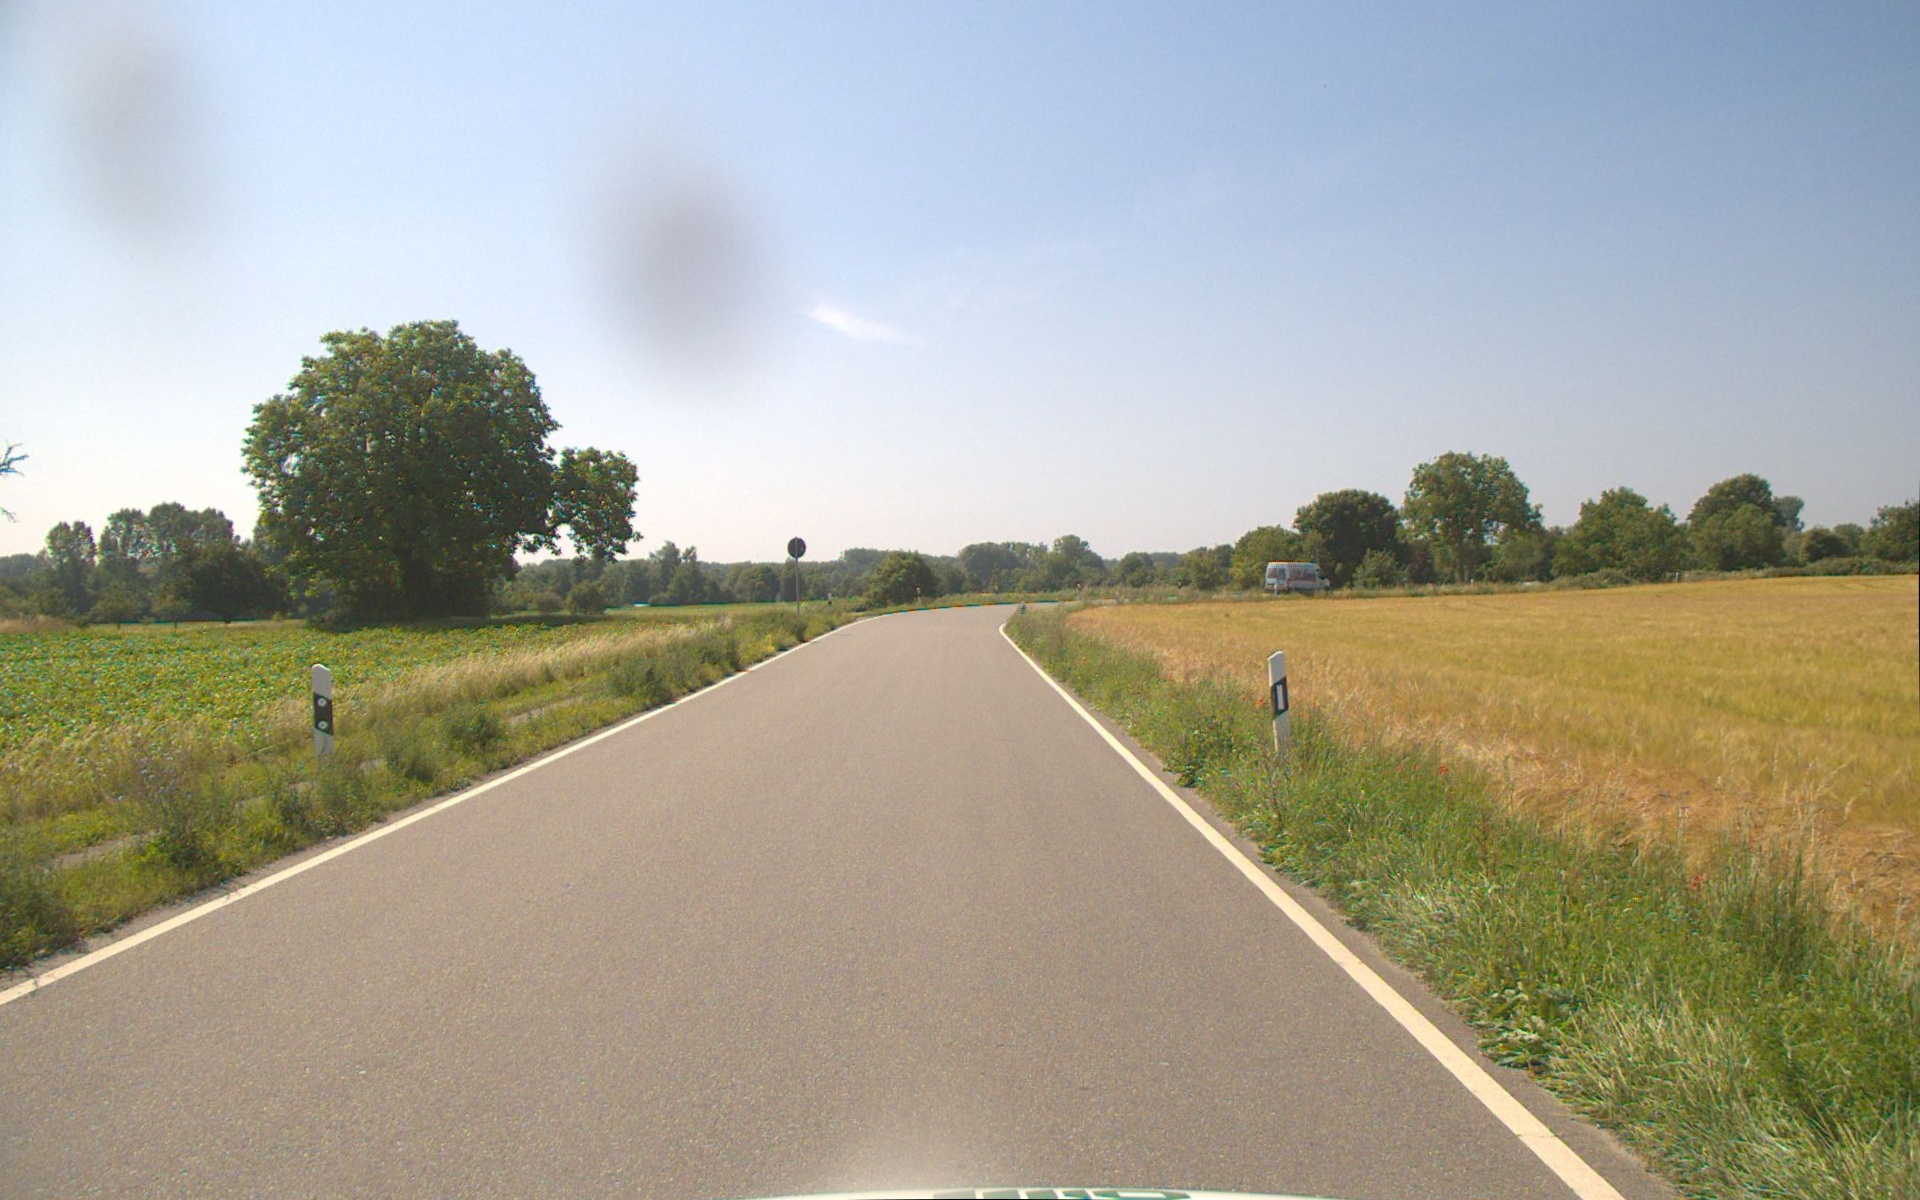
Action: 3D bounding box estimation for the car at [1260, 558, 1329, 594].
[{"bbox_3d":[24.337,-1.781,120.224,2.076,2.408,5.646,-2,1,45],"label":"car"}]
